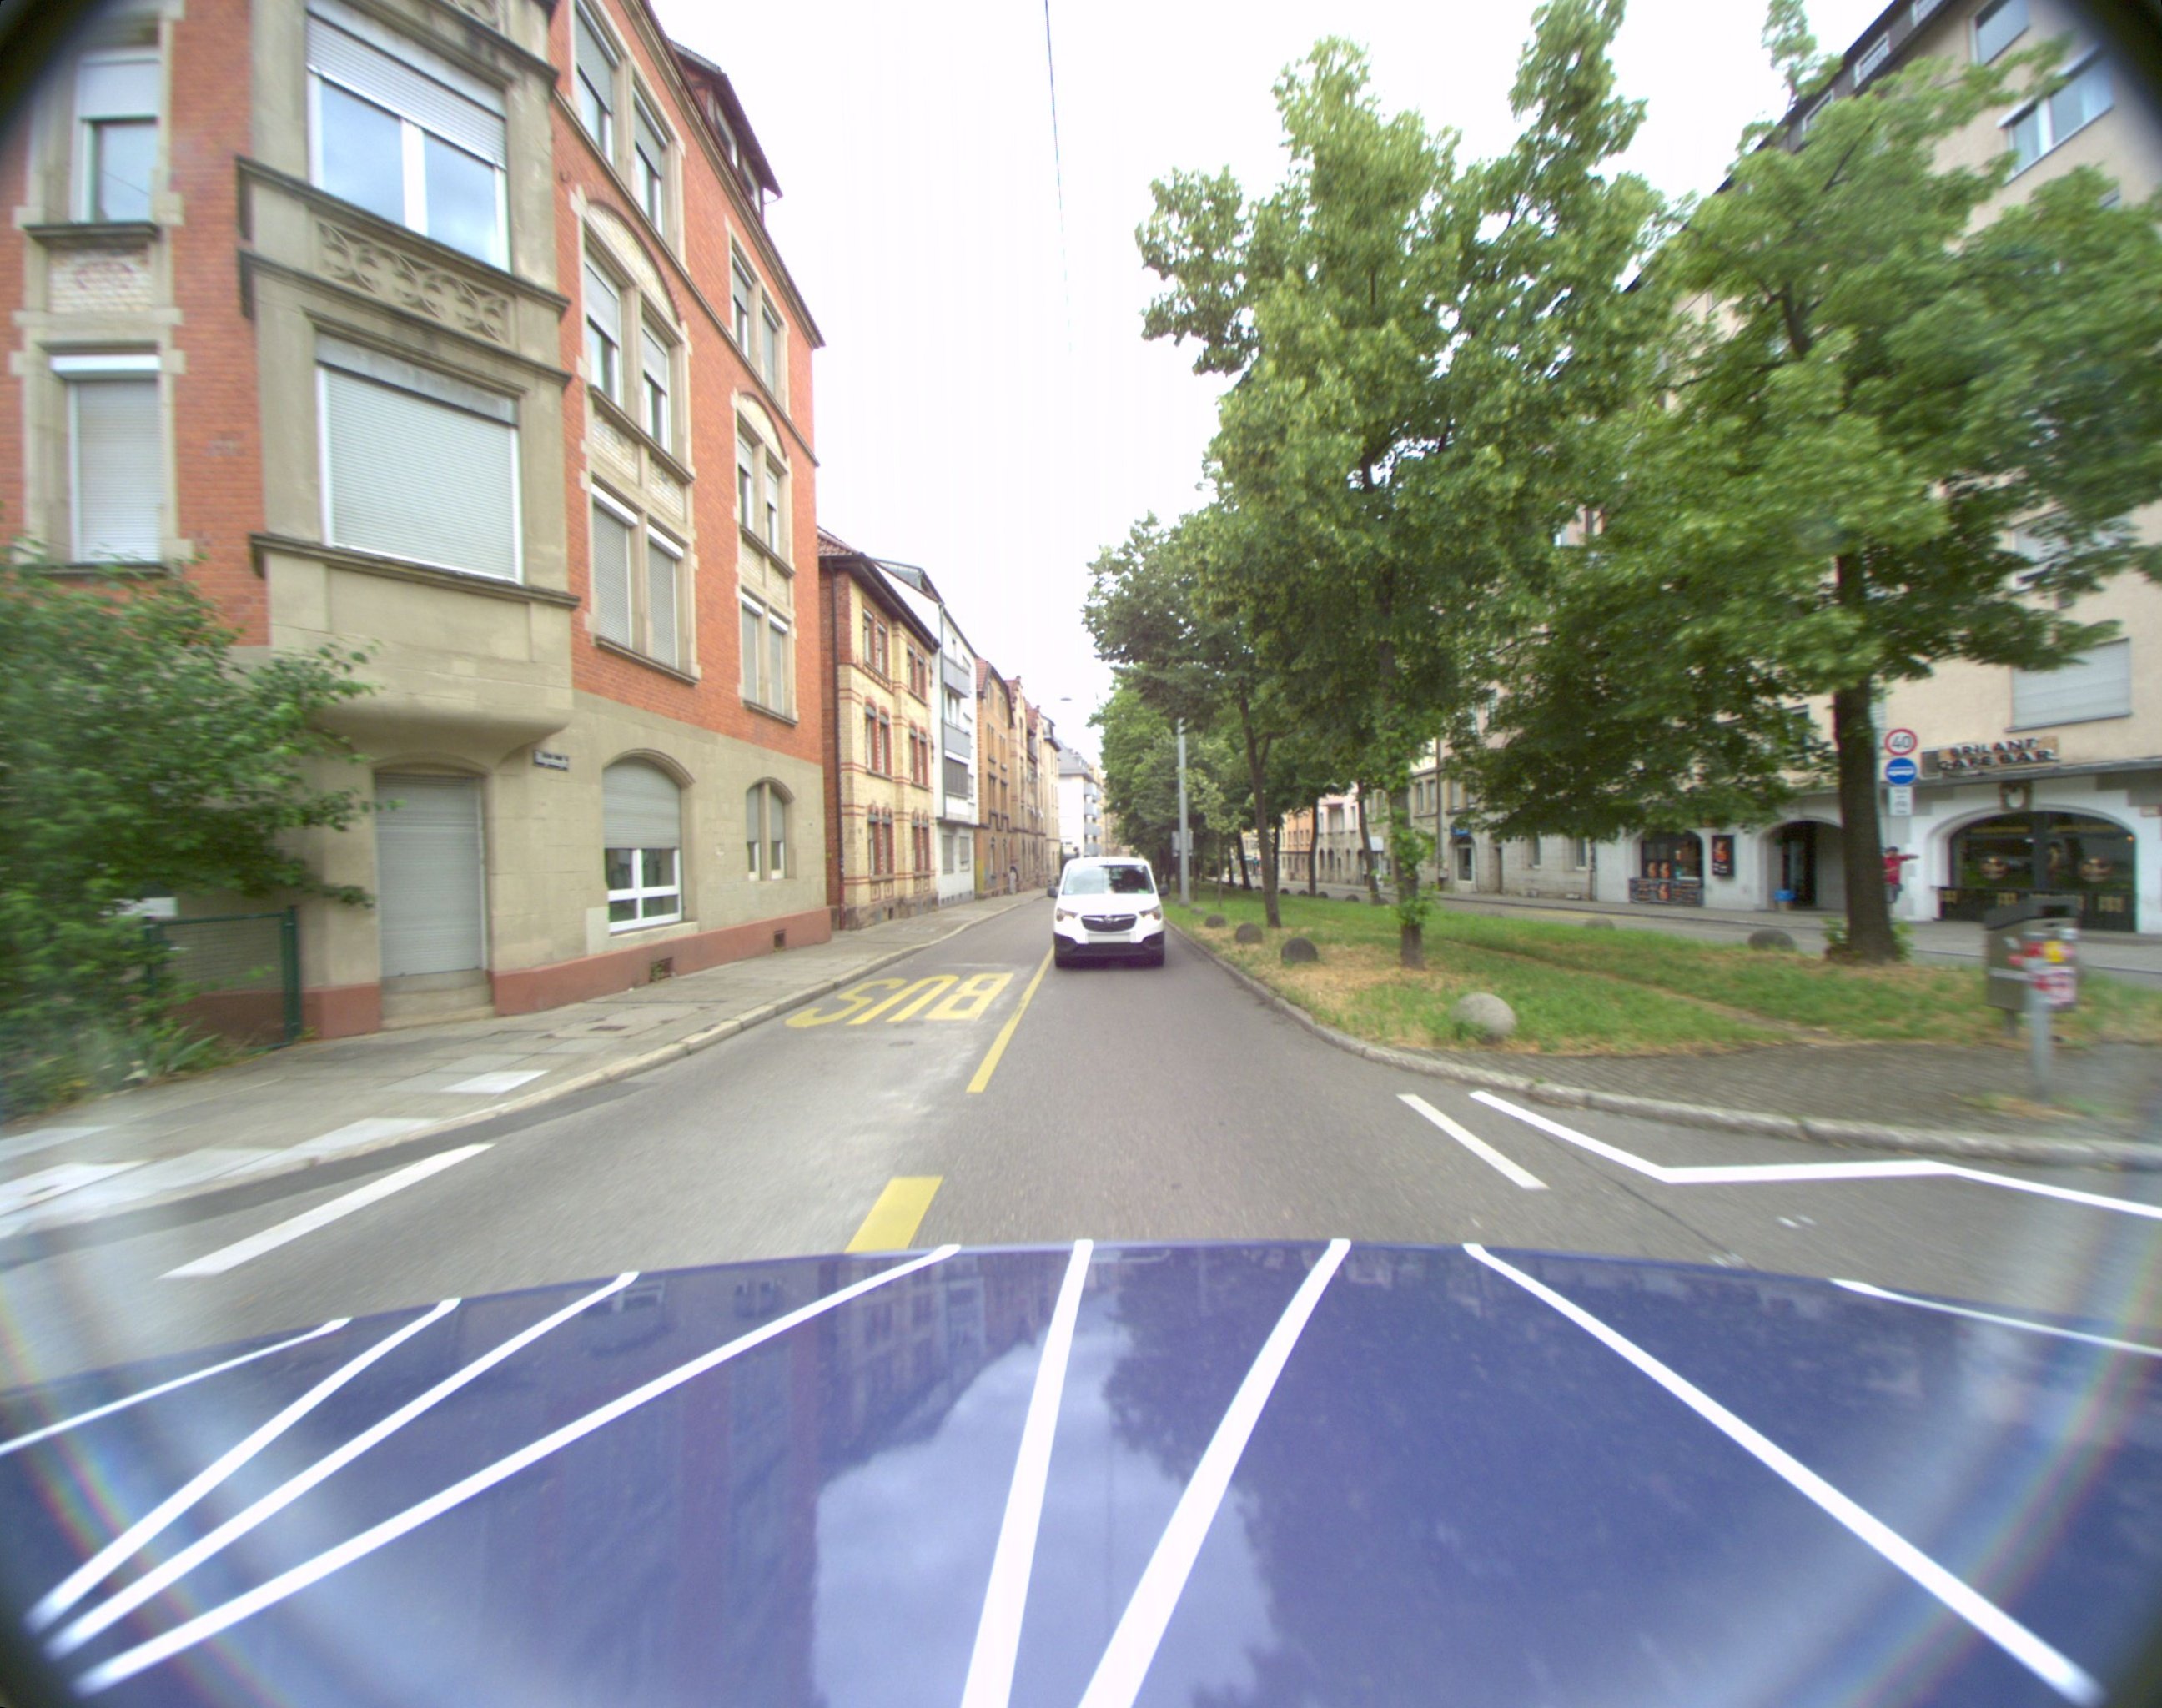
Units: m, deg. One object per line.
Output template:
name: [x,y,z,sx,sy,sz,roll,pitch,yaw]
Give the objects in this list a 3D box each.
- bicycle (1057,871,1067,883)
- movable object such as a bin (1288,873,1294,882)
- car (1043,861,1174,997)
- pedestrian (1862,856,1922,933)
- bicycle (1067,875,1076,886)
bicycle: [-1.895,2.331,76.199,0.683,1.142,2.485,-2,-1,6]
movable object such as a bin: [22.617,2.525,81.900,0.513,0.921,0.779,-2,-1,6]
car: [0.610,1.065,12.552,1.745,1.830,4.345,-2,-1,6]
pedestrian: [17.843,0.885,16.722,0.533,1.656,0.701,-1,-1,2]
bicycle: [-1.048,3.066,87.088,0.683,1.142,2.943,-2,-3,6]
